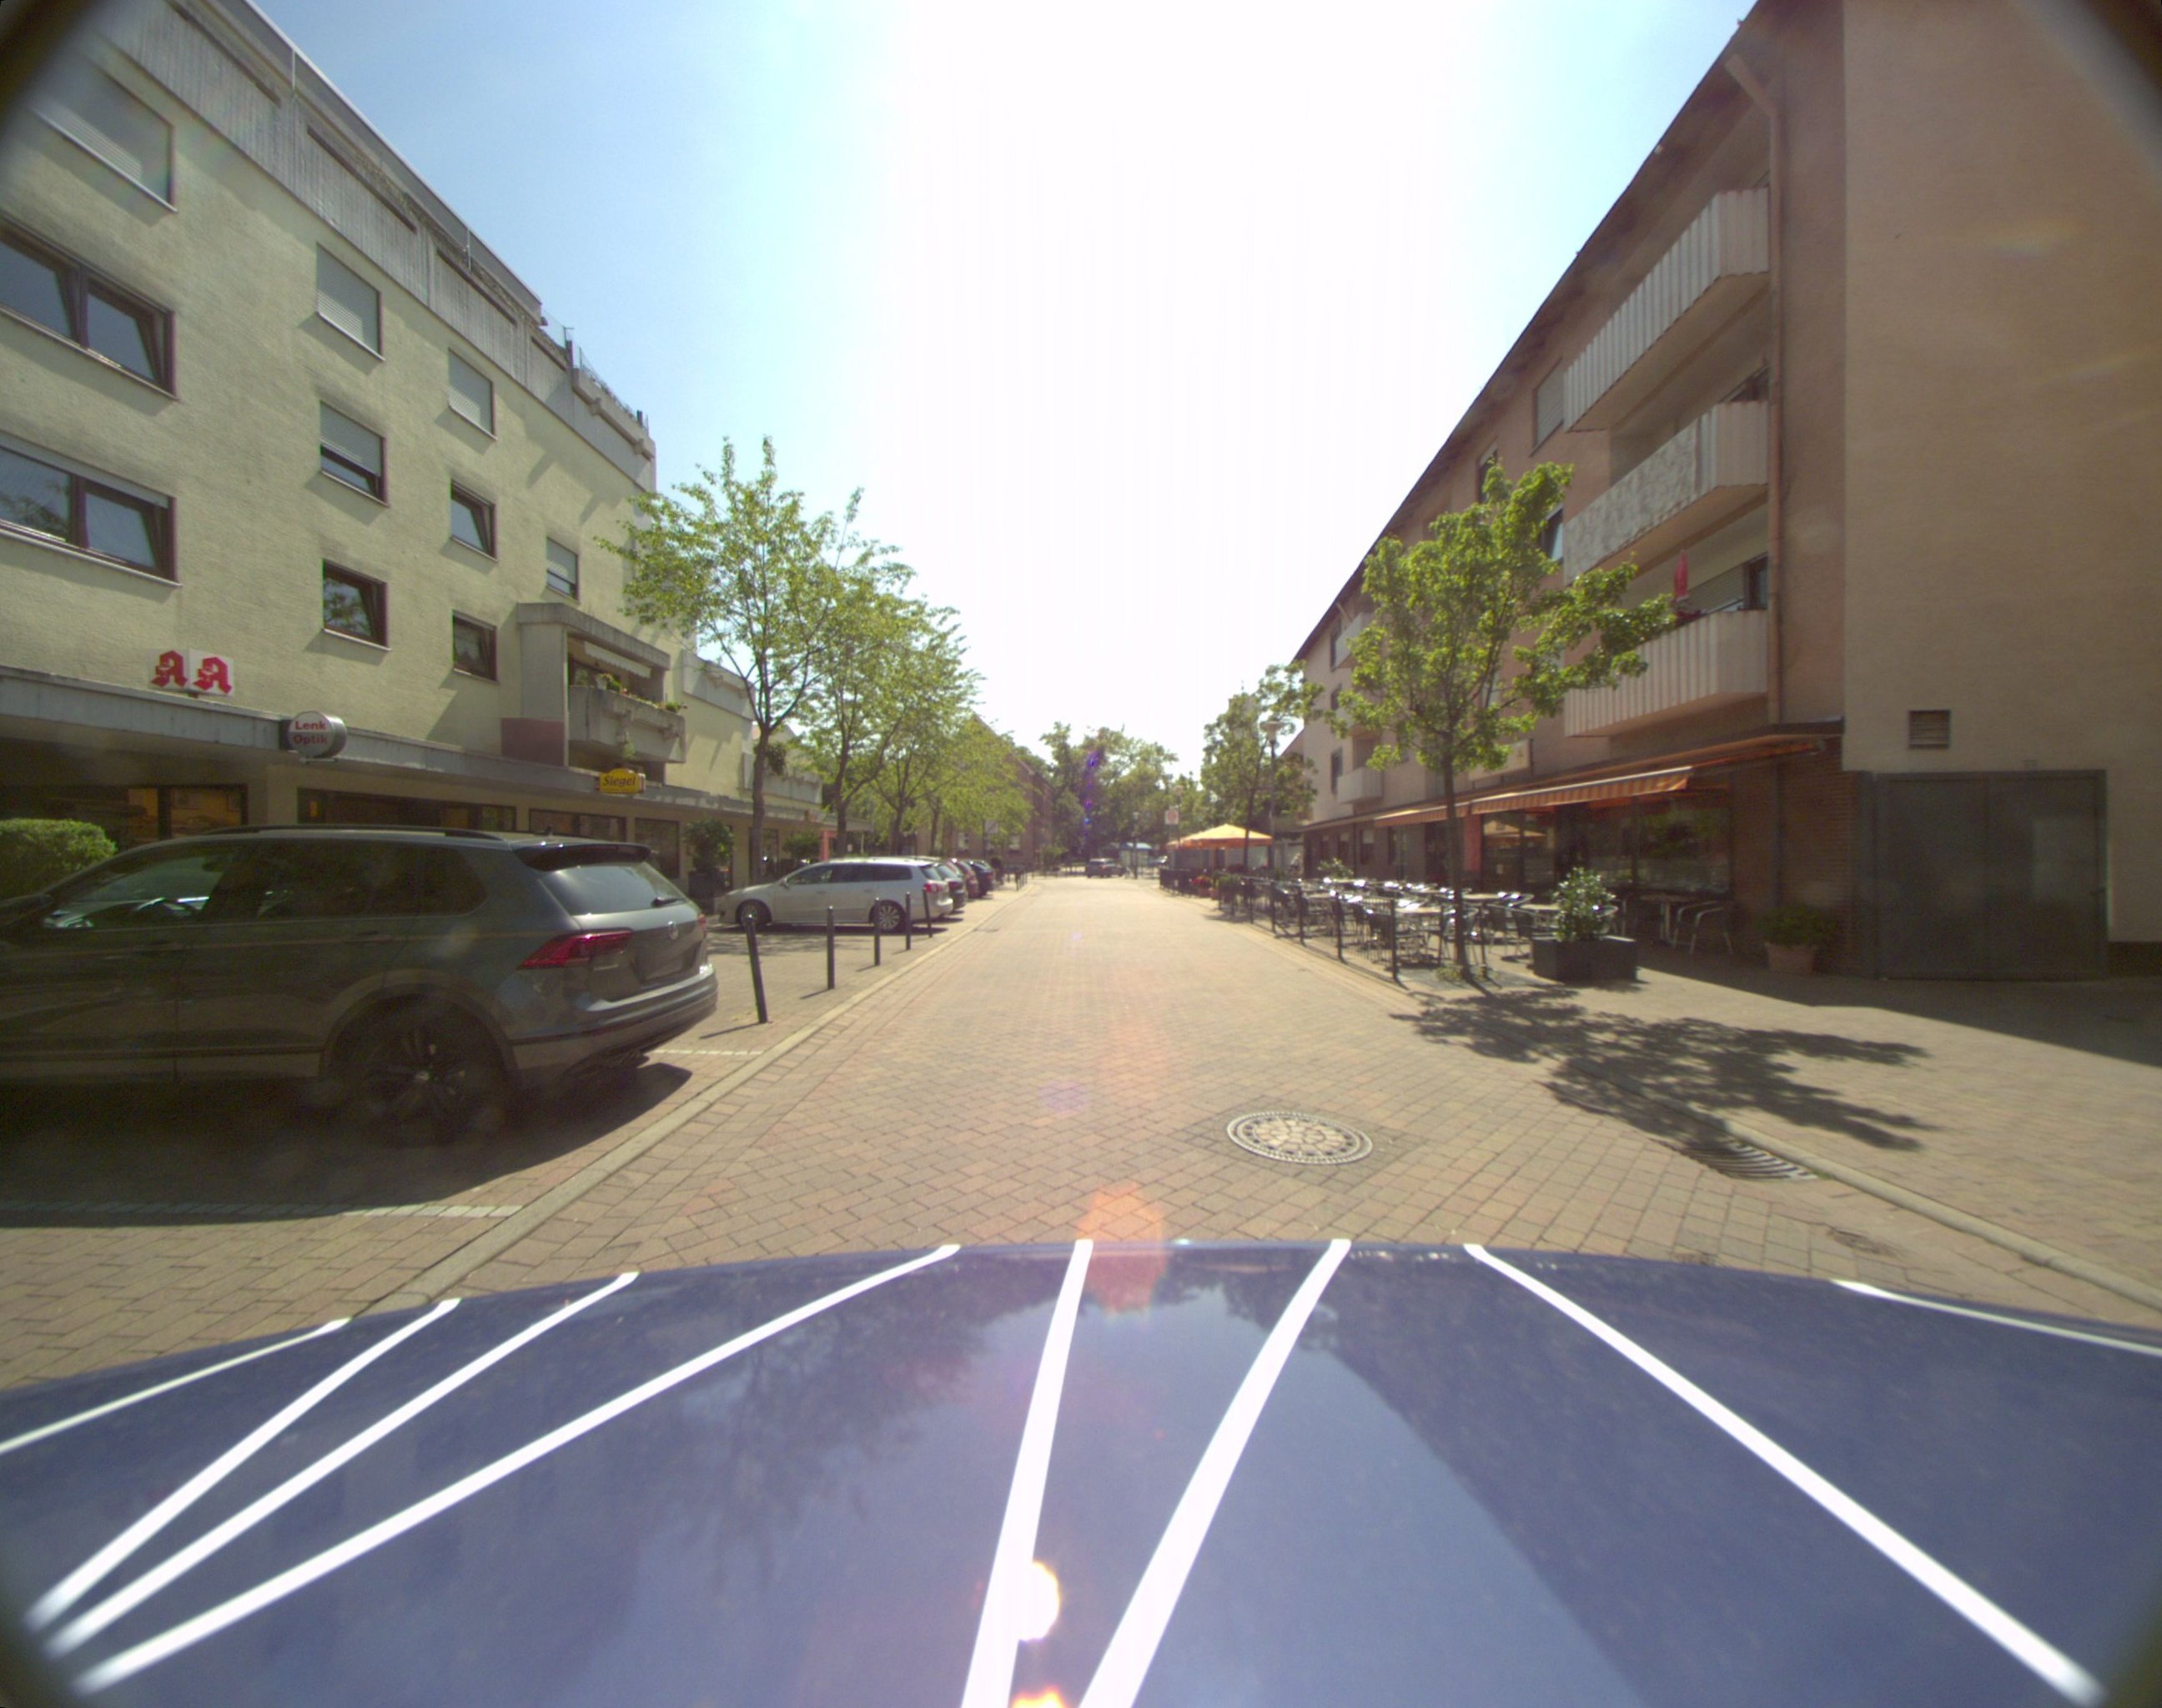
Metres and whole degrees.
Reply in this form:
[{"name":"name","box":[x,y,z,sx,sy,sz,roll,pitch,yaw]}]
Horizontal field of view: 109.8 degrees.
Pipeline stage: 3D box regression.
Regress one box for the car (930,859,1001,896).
[{"name":"car","box":[-4.704,0.950,31.228,2.703,1.437,1.267,-1,1,0]}]

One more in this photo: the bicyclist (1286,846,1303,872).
[{"name":"bicyclist","box":[13.104,0.305,46.744,0.859,1.568,0.788,0,1,3]}]

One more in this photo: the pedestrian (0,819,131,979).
[{"name":"pedestrian","box":[-12.020,0.499,8.866,0.759,1.770,0.870,0,1,7]}]

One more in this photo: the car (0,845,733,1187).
[{"name":"car","box":[-4.595,0.774,4.477,4.255,1.608,1.756,1,0,-2]}]

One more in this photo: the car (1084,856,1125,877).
[{"name":"car","box":[1.899,0.909,59.246,1.900,1.547,5.039,0,0,17]}]

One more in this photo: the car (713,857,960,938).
[{"name":"car","box":[-4.981,0.859,15.944,4.586,1.534,1.806,1,1,0]}]

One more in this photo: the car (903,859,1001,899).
[{"name":"car","box":[-4.788,0.926,28.529,3.401,1.382,1.460,1,1,0]}]

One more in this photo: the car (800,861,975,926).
[{"name":"car","box":[-4.598,0.920,18.424,3.800,1.423,1.614,1,0,0]}]

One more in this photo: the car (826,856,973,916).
[{"name":"car","box":[-4.929,0.854,20.981,3.652,1.508,1.633,1,1,0]}]

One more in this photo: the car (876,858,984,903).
[{"name":"car","box":[-5.136,0.889,26.096,3.401,1.455,1.520,1,1,0]}]

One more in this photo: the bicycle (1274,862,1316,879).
[{"name":"bicycle","box":[13.179,1.018,46.755,2.341,0.919,0.775,2,1,4]}]
